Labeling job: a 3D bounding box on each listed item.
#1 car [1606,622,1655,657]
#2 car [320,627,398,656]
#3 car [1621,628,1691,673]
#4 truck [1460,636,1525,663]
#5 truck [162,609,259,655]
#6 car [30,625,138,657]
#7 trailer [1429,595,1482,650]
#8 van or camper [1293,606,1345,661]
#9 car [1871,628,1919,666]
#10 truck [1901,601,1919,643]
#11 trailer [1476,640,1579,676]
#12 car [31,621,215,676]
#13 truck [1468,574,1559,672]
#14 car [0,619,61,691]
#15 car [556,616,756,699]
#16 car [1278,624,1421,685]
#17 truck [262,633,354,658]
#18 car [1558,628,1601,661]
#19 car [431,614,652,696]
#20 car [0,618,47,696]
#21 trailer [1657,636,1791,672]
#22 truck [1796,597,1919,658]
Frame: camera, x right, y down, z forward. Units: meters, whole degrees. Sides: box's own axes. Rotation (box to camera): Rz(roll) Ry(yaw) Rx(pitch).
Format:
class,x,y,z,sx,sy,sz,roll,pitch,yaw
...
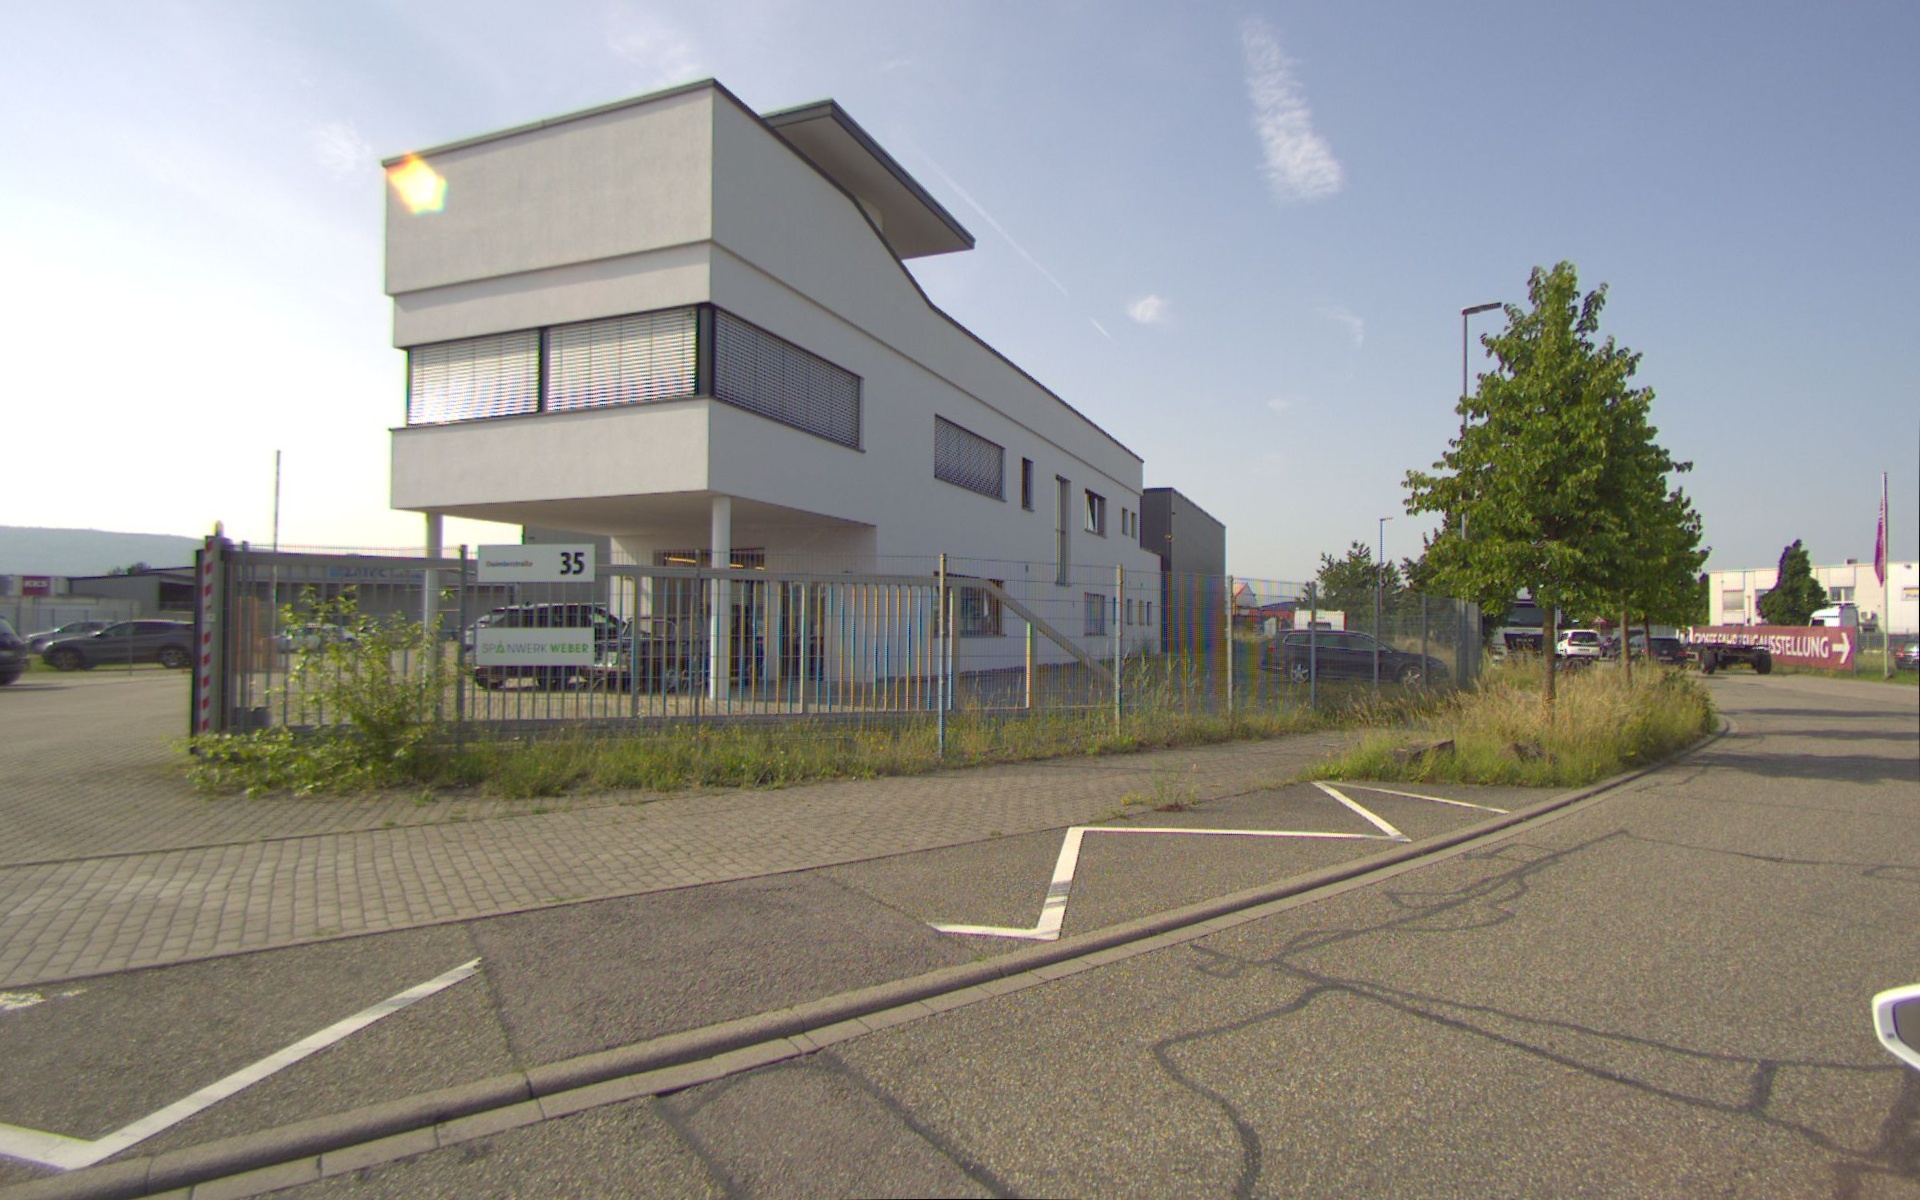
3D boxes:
class,x,y,z,sx,sy,sz,roll,pitch,yaw
car,42.129,2.449,63.196,1.790,2.004,3.997,-4,-2,24
car,-38.516,2.630,64.427,3.937,1.792,1.865,1,-1,-18
car,30.129,2.150,43.590,1.963,1.828,3.995,-1,-2,28
truck,28.995,2.665,54.896,2.483,1.282,6.525,0,-1,22
truck,-42.480,1.821,57.028,3.935,2.547,1.993,1,-1,-17
car,-47.289,2.200,54.323,3.939,1.664,1.864,1,-1,-20
trailer,42.977,1.983,87.516,3.349,4.397,13.913,0,-2,23
van or camper,17.759,1.636,49.732,2.267,2.594,4.954,0,-2,20
car,39.242,1.858,40.108,3.925,1.496,2.171,0,-1,-7
truck,60.459,1.346,60.452,7.883,2.504,2.447,1,-1,-21
trailer,20.300,2.033,36.180,2.532,1.114,5.200,-1,-2,22
car,-28.215,1.609,34.055,4.396,1.750,1.977,1,-1,-26
truck,25.762,1.126,47.267,2.584,3.981,12.911,0,-1,24
car,-23.839,1.289,23.008,4.413,1.625,1.931,0,-1,-23
car,-5.725,1.041,19.422,1.533,1.434,3.919,0,-1,23
car,10.316,1.421,26.766,3.435,1.473,1.597,1,-1,21
truck,-36.299,2.504,56.033,3.937,1.327,1.865,1,-1,-18
car,38.484,2.705,62.473,1.964,1.924,4.461,0,-1,28
car,-8.364,1.055,20.470,1.833,1.507,3.998,0,-1,23
car,-22.148,1.207,20.757,4.413,1.625,1.931,0,-1,-23
trailer,35.289,2.451,46.816,2.581,1.406,9.451,-3,-2,22
truck,63.764,1.900,69.308,2.424,4.025,9.261,1,-1,-23
